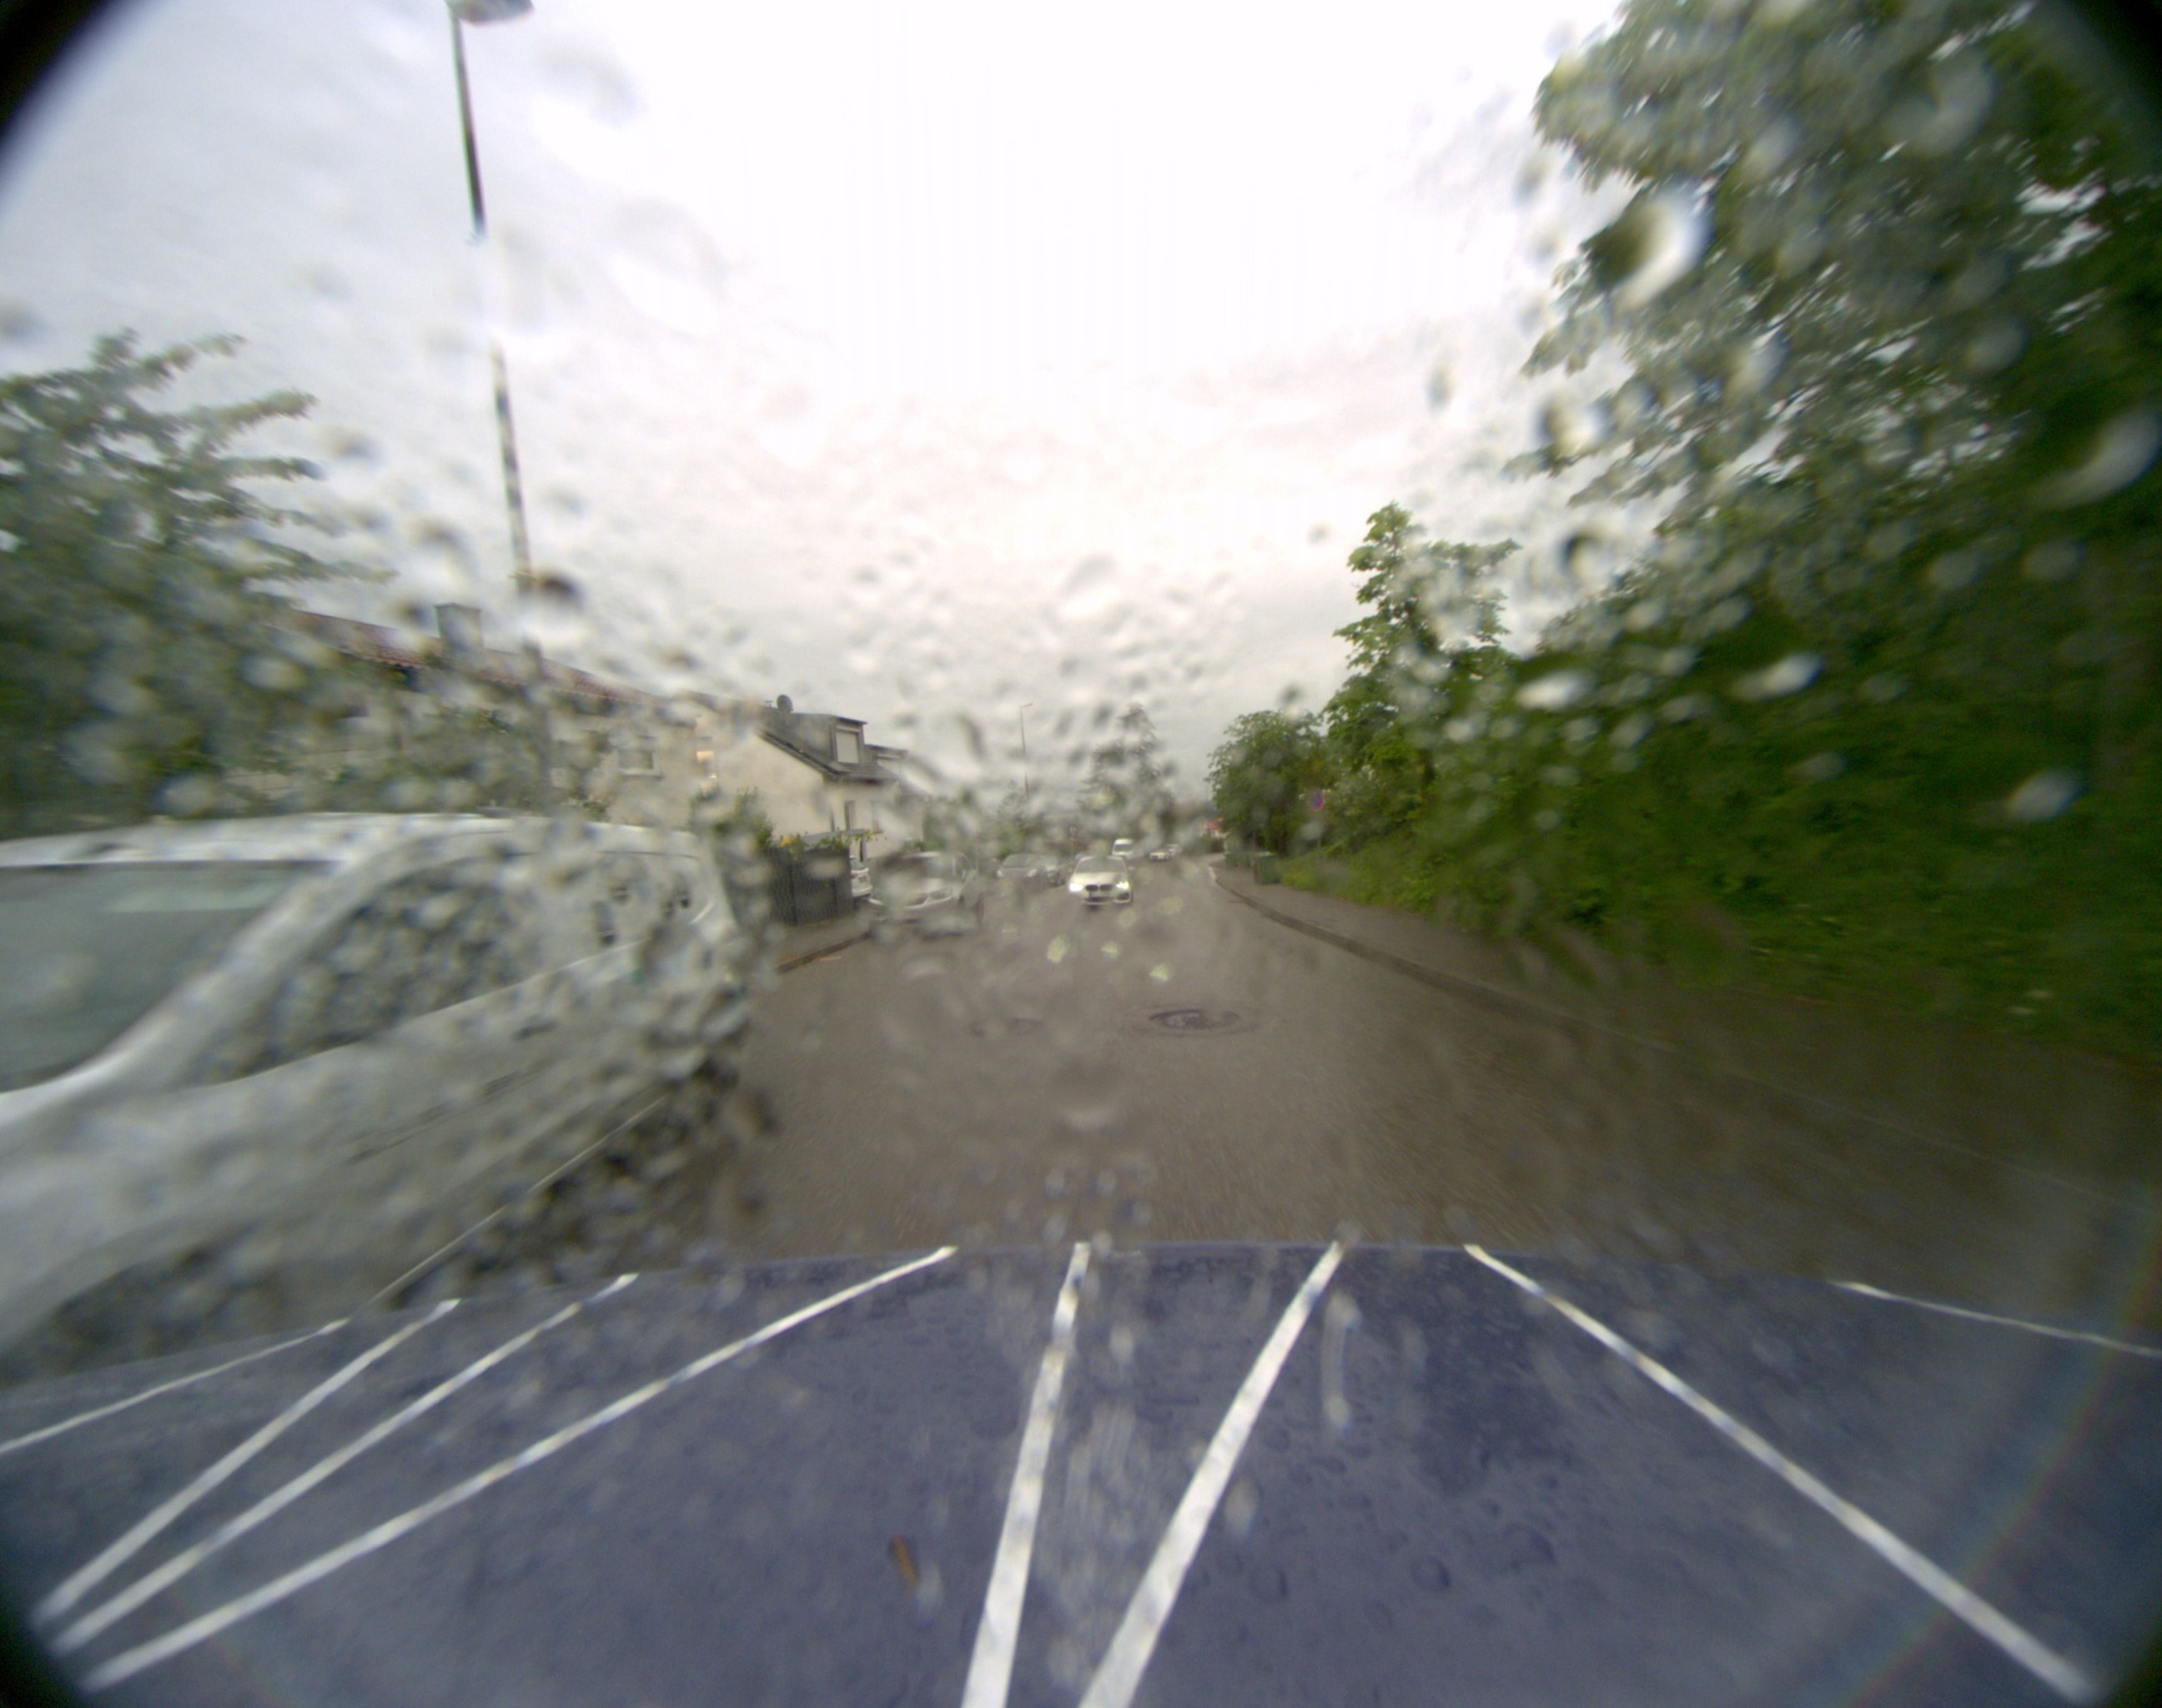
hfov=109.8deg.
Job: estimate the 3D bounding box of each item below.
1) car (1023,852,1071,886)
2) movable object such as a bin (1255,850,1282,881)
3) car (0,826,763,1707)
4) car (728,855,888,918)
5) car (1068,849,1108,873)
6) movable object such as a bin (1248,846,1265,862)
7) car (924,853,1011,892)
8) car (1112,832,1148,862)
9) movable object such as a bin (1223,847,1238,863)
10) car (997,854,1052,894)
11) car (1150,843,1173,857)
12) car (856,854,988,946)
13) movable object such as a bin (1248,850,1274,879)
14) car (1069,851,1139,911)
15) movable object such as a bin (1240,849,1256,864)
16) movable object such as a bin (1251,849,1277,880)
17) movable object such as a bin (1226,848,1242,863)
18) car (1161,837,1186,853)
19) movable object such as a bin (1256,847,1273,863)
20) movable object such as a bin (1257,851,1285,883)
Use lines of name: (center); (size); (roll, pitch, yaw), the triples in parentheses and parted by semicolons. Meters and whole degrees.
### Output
car: (-1.552, 0.680, 35.940); (1.772, 1.459, 4.235); (0, 1, 4)
movable object such as a bin: (6.720, 0.405, 27.281); (0.770, 1.090, 0.671); (-2, 1, 1)
car: (-2.922, 0.866, 2.672); (1.784, 1.793, 4.705); (-2, 1, -3)
car: (-8.137, 0.951, 22.865); (3.995, 1.581, 1.935); (-3, 2, 8)
car: (0.501, 0.424, 49.865); (1.861, 1.518, 5.066); (0, 1, 9)
movable object such as a bin: (12.028, 0.027, 52.138); (0.781, 1.022, 0.718); (-6, 2, -37)
car: (-6.036, 0.964, 40.702); (3.994, 1.433, 2.001); (-9, 0, 13)
car: (4.514, -0.660, 69.263); (2.075, 2.535, 6.187); (-1, 1, 14)
movable object such as a bin: (10.757, 0.072, 54.736); (0.780, 1.022, 0.718); (-5, 2, -14)
car: (-2.241, 0.768, 30.828); (1.663, 1.459, 3.764); (0, 1, 4)
car: (9.016, -0.470, 85.022); (1.751, 1.415, 4.004); (-1, 1, 18)
car: (-3.159, 0.829, 15.964); (1.808, 1.617, 4.287); (0, 1, 1)
movable object such as a bin: (6.818, 0.391, 28.804); (0.770, 1.090, 0.738); (-2, 1, 1)
car: (0.701, 0.698, 21.908); (1.798, 1.455, 4.000); (-1, 1, 3)
movable object such as a bin: (11.592, 0.176, 52.739); (0.781, 1.022, 0.718); (-6, 2, -37)
movable object such as a bin: (6.743, 0.391, 28.036); (0.770, 1.090, 0.738); (-2, 1, 1)
movable object such as a bin: (10.890, 0.107, 54.007); (0.780, 1.022, 0.718); (-5, 2, -14)
car: (11.077, -1.043, 90.603); (1.867, 1.808, 4.868); (-1, 1, 20)
movable object such as a bin: (12.468, 0.075, 51.551); (0.781, 1.022, 0.718); (-6, 2, -37)
movable object such as a bin: (6.647, 0.442, 26.595); (0.770, 1.062, 0.691); (-2, 1, 1)
